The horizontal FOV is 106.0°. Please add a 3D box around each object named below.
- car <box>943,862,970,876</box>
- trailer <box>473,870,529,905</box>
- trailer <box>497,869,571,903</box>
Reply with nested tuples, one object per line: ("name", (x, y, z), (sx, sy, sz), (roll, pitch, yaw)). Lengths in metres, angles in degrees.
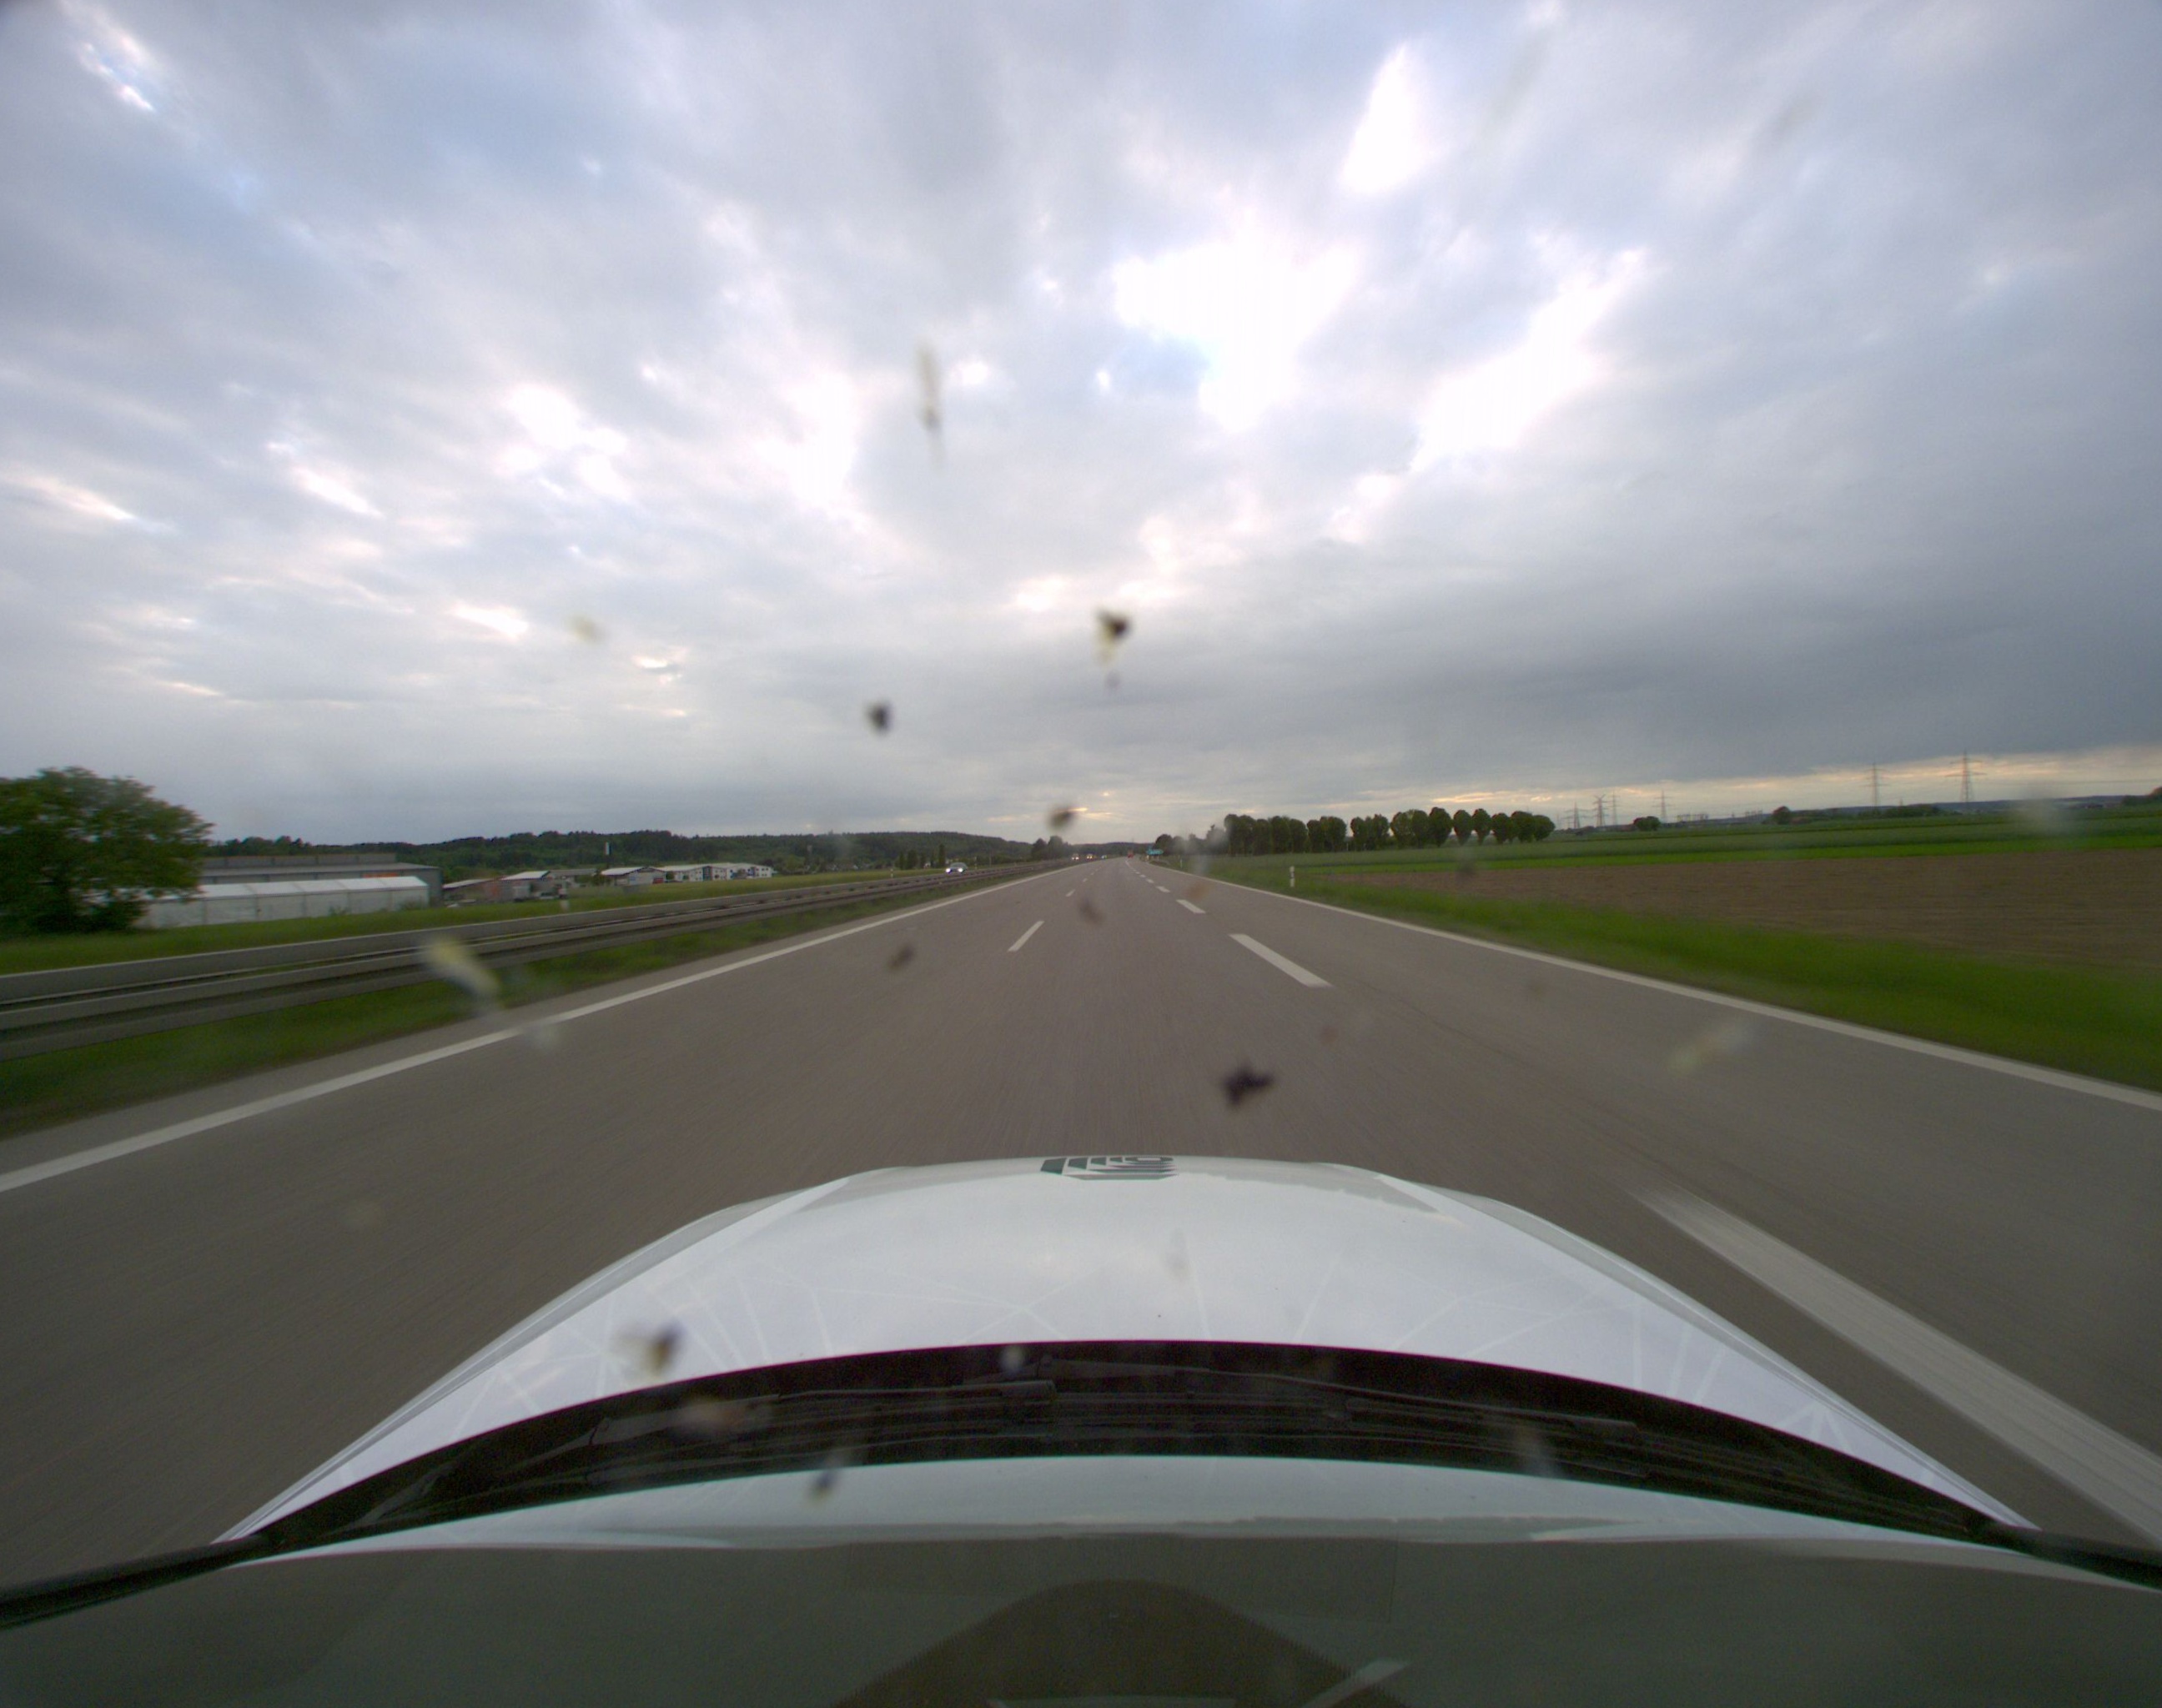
("car", (-13.402, 1.596, 87.893), (1.986, 1.416, 4.526), (-1, 0, 2))
("trailer", (-97.464, 5.650, 136.754), (9.951, 5.261, 3.778), (-4, -2, 31))
("trailer", (-93.592, 5.527, 139.198), (16.814, 5.135, 3.592), (-4, -2, 31))
